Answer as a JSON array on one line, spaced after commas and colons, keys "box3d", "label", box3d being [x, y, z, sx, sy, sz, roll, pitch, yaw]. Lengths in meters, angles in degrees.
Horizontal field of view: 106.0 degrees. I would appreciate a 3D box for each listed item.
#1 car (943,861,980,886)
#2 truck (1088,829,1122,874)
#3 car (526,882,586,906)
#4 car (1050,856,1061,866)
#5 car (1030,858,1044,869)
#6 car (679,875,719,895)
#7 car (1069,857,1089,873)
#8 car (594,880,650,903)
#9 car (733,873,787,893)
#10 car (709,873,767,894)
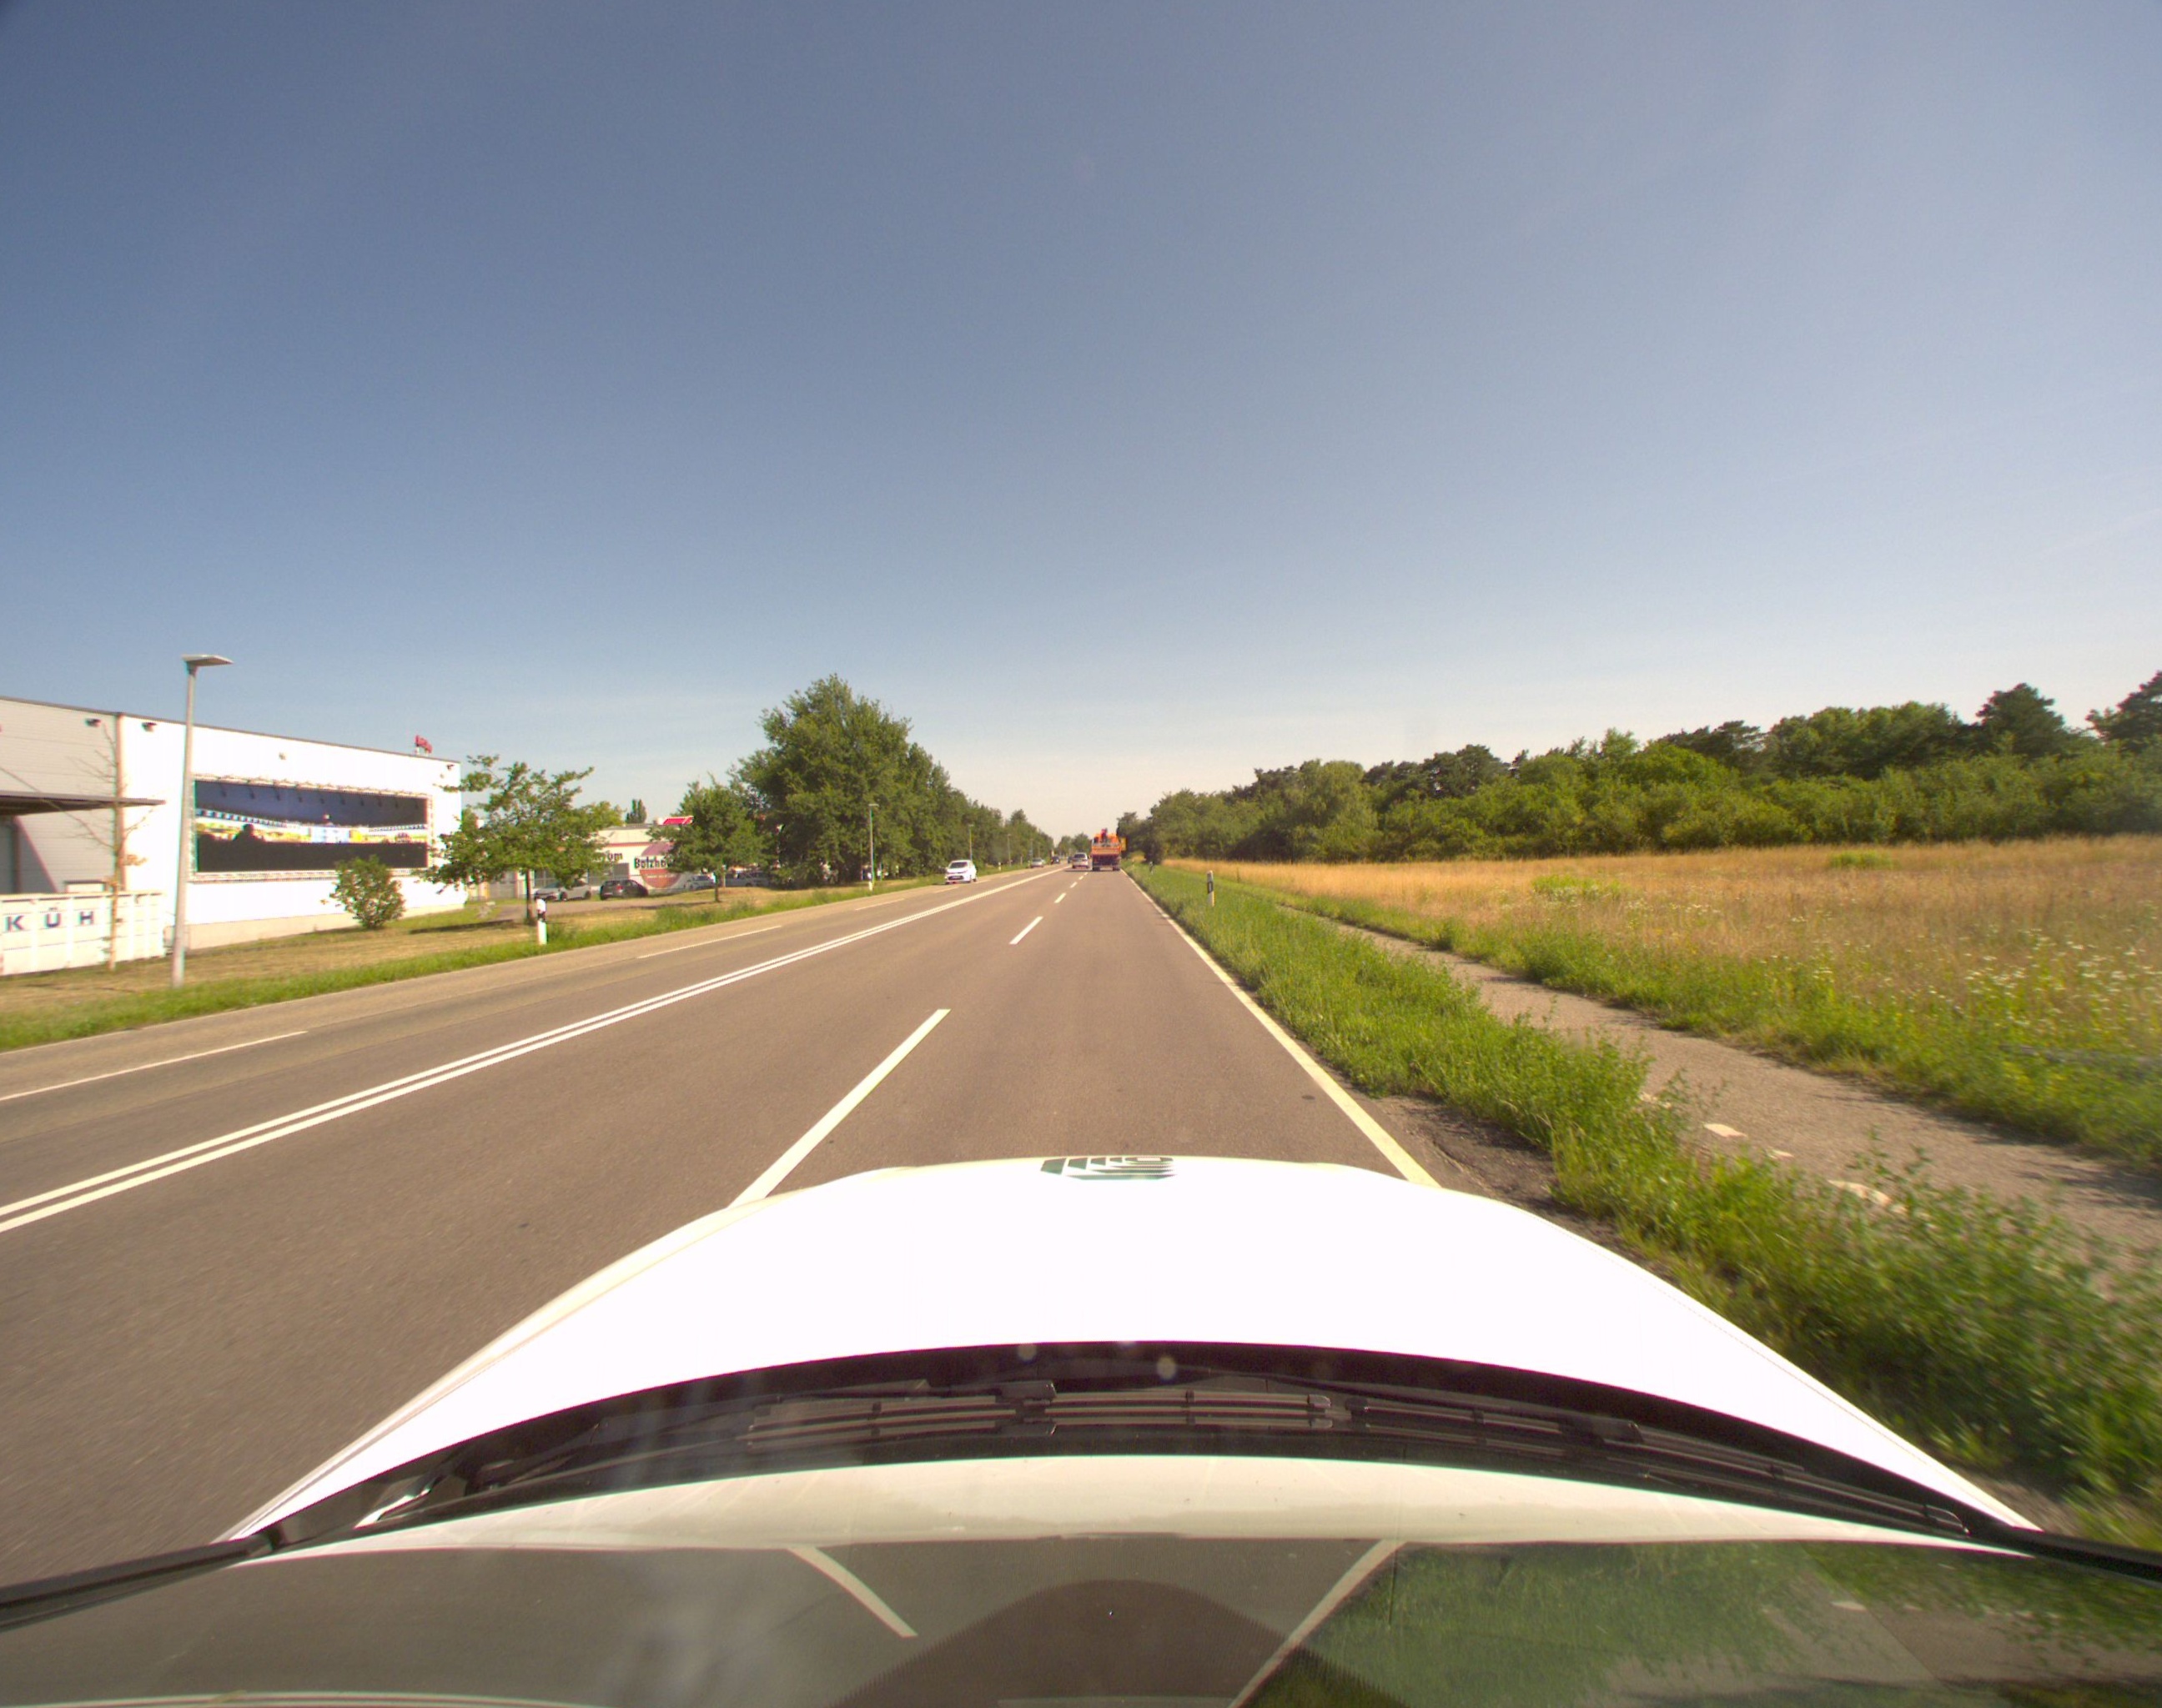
[{"box3d": [-7.721, 1.228, 52.789, 1.653, 1.437, 3.736, -4, 0, 1], "label": "car"}, {"box3d": [2.100, -0.185, 74.159, 2.863, 3.880, 7.397, 0, 0, -1], "label": "truck"}, {"box3d": [-36.673, 2.769, 56.978, 1.630, 1.410, 3.723, -3, 0, 1], "label": "car"}, {"box3d": [-5.020, 1.328, 158.664, 1.819, 1.671, 4.389, -4, 0, 0], "label": "car"}, {"box3d": [-6.239, 1.377, 115.468, 1.592, 1.442, 4.001, -4, 0, 1], "label": "car"}, {"box3d": [-30.213, 2.452, 64.333, 1.750, 1.500, 3.951, -2, 0, -42], "label": "car"}, {"box3d": [-0.226, 1.156, 88.335, 1.987, 1.583, 3.999, -2, 0, 0], "label": "car"}, {"box3d": [-32.004, 2.568, 56.883, 1.630, 1.390, 3.723, -3, 0, 1], "label": "car"}, {"box3d": [-28.174, 2.503, 71.489, 3.973, 1.500, 1.758, -3, 0, 1], "label": "car"}, {"box3d": [-28.385, 2.395, 67.398, 3.973, 1.500, 1.758, -3, 0, 1], "label": "car"}]
